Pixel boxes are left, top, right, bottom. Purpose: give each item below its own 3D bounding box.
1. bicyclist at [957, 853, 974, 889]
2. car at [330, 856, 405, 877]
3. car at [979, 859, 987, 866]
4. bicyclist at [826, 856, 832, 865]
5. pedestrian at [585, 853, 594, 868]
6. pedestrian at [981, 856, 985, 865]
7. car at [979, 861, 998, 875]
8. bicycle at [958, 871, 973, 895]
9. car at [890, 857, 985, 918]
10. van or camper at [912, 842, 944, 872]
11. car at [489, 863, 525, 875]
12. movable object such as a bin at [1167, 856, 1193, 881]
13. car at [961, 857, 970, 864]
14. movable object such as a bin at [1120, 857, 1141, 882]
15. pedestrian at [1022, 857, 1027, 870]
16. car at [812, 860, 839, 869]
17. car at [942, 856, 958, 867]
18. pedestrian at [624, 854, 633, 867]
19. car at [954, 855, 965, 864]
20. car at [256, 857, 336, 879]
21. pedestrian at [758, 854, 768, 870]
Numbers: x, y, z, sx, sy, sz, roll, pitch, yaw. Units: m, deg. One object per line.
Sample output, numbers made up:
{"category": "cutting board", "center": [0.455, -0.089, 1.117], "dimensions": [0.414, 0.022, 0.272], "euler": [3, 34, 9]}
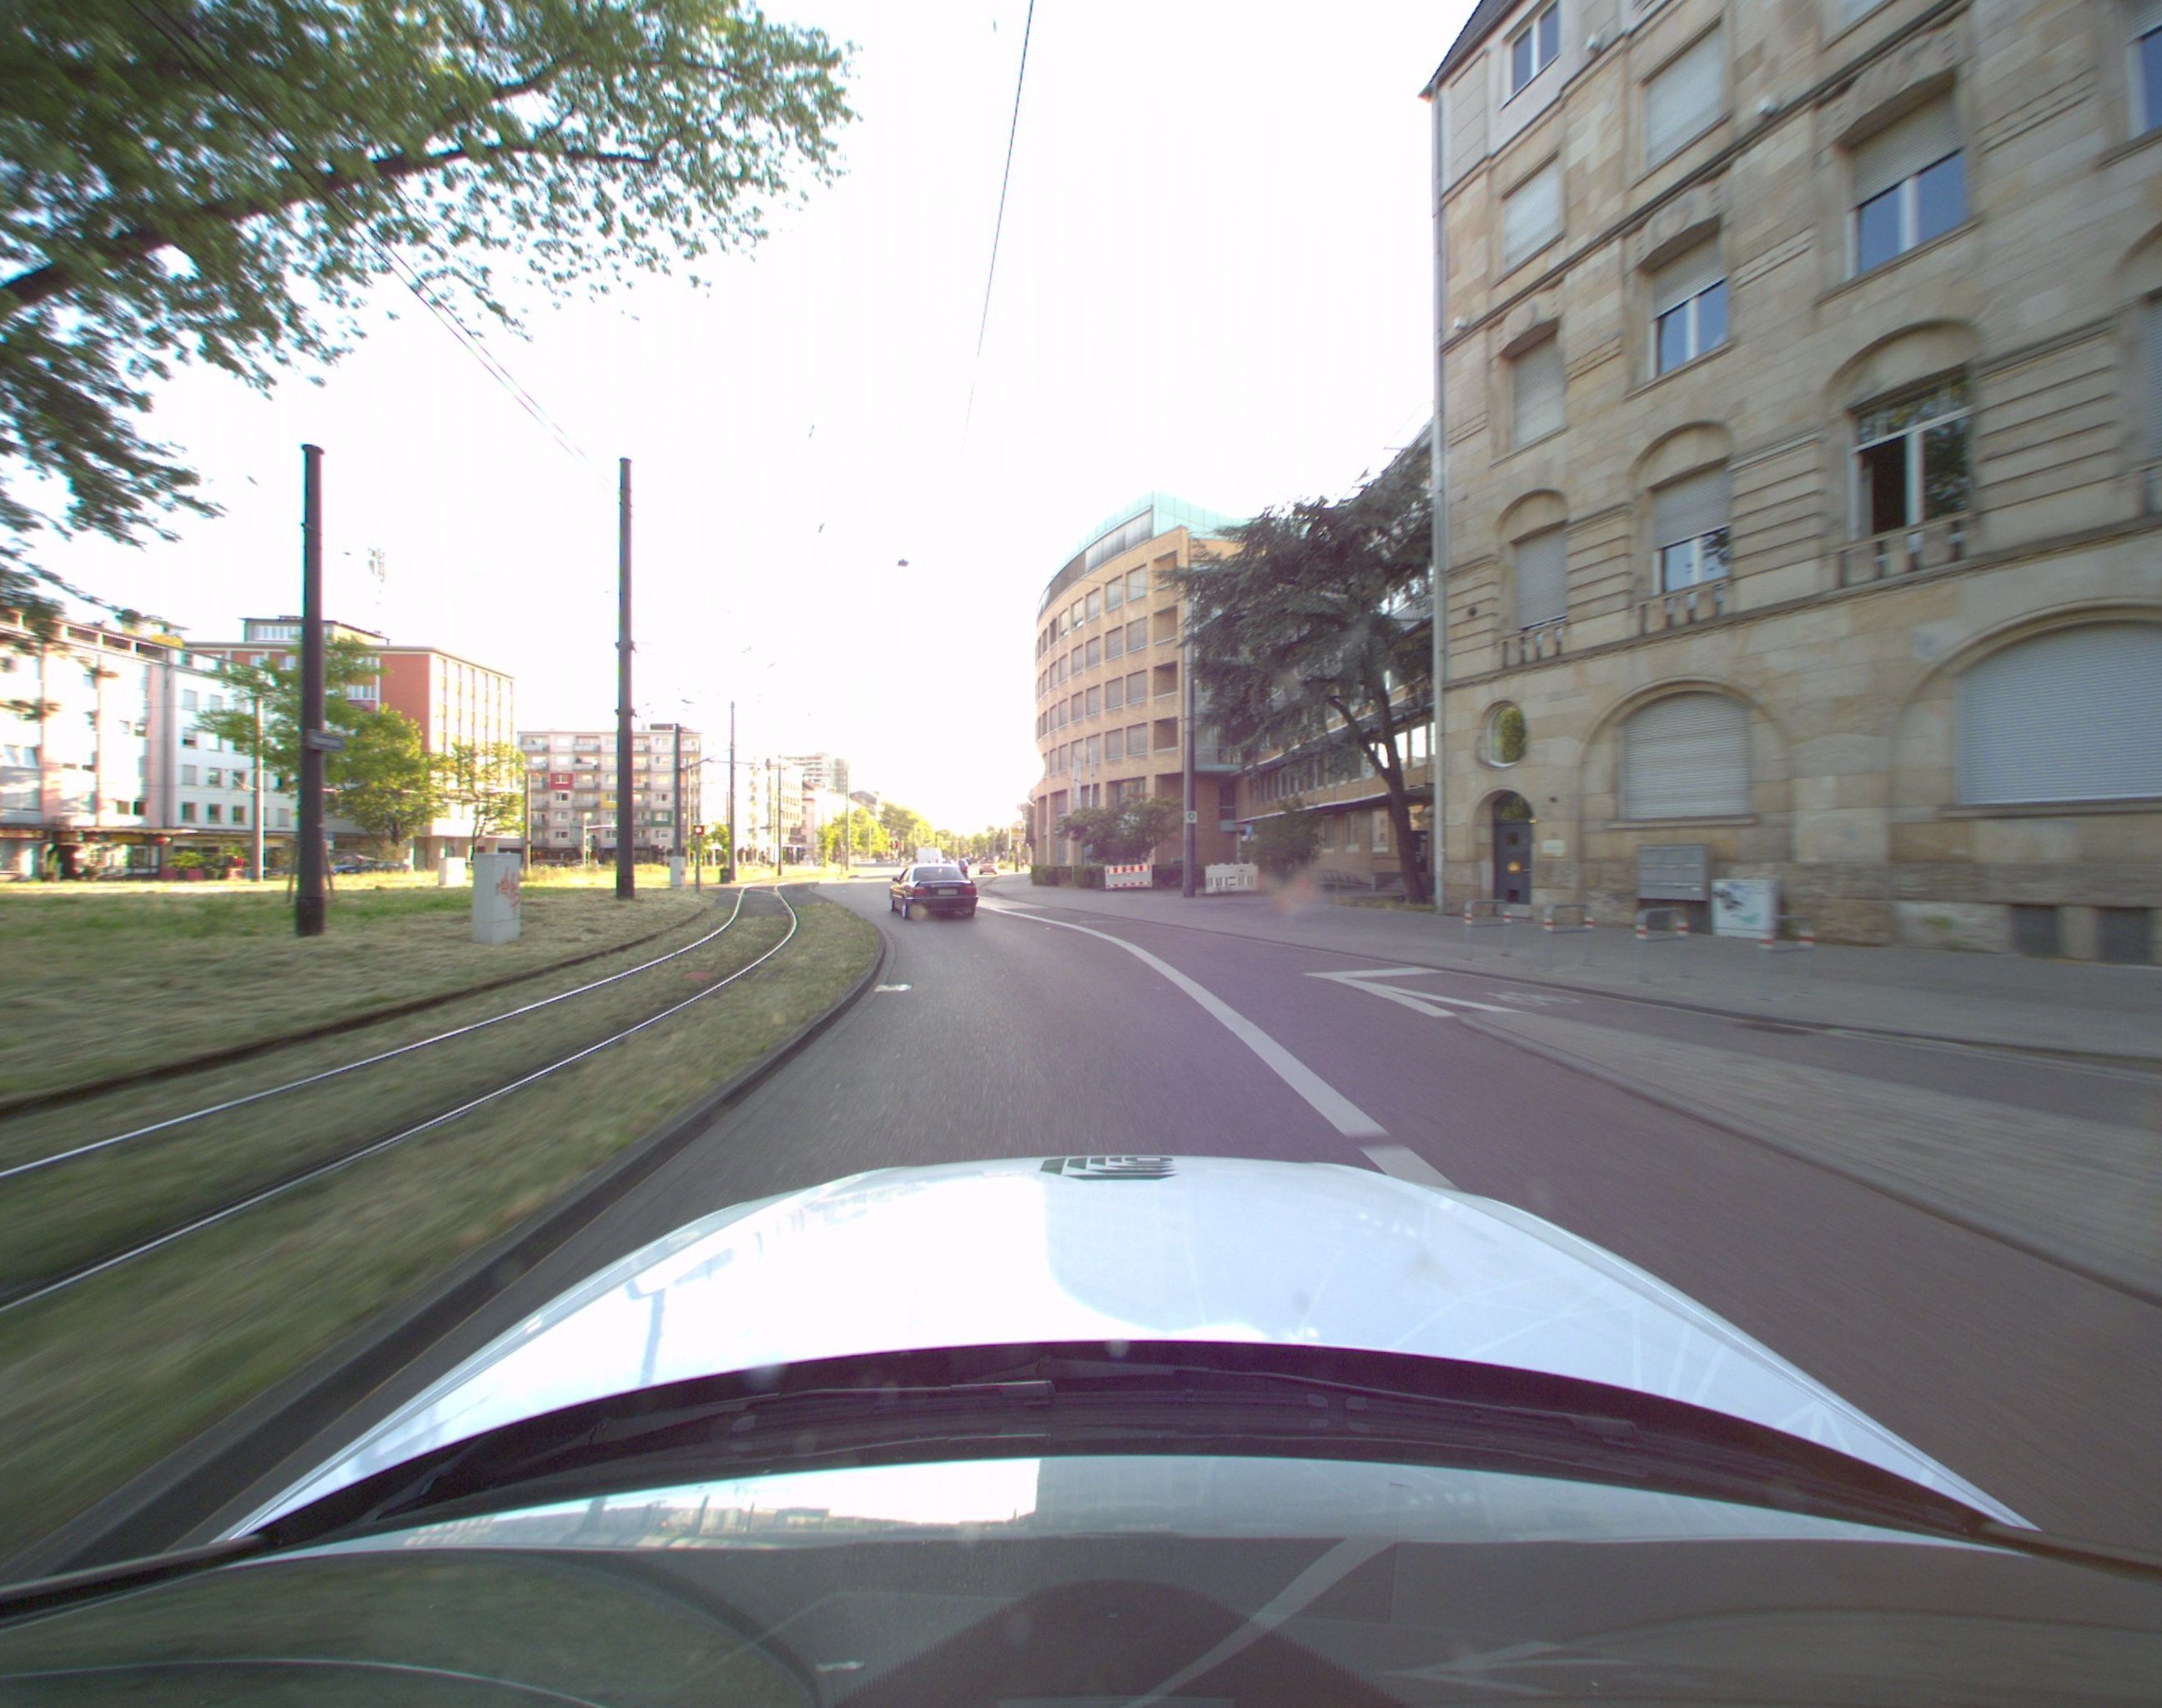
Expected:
{"category": "bicyclist", "center": [-4.906, 0.709, 34.512], "dimensions": [0.655, 1.483, 1.034], "euler": [2, -1, -10]}
{"category": "car", "center": [-58.265, 0.982, 66.616], "dimensions": [1.740, 1.526, 4.313], "euler": [0, 1, 19]}
{"category": "car", "center": [-23.238, 2.070, 192.183], "dimensions": [1.793, 1.566, 3.990], "euler": [0, 1, -8]}
{"category": "bicyclist", "center": [-41.792, 1.150, 135.253], "dimensions": [0.858, 1.442, 0.657], "euler": [2, 0, -26]}
{"category": "pedestrian", "center": [-60.661, 0.761, 100.566], "dimensions": [0.703, 1.852, 0.736], "euler": [0, 1, -4]}
{"category": "pedestrian", "center": [-16.599, 1.074, 137.523], "dimensions": [0.614, 1.475, 0.800], "euler": [0, 1, 0]}
{"category": "car", "center": [-9.656, 1.422, 85.552], "dimensions": [1.780, 1.354, 4.260], "euler": [1, 0, -5]}
{"category": "bicycle", "center": [-4.901, 1.221, 34.457], "dimensions": [0.515, 0.954, 1.769], "euler": [2, 0, -10]}
{"category": "car", "center": [-4.073, 0.836, 22.495], "dimensions": [1.836, 1.354, 4.611], "euler": [0, 2, -20]}
{"category": "van or camper", "center": [-14.120, 0.229, 75.333], "dimensions": [2.258, 2.625, 4.498], "euler": [0, 1, -3]}
{"category": "car", "center": [-82.639, 2.126, 117.308], "dimensions": [3.864, 1.585, 1.798], "euler": [-1, 1, -10]}
{"category": "movable object such as a bin", "center": [5.928, 0.877, 48.904], "dimensions": [1.341, 1.424, 0.920], "euler": [-1, 1, -12]}
{"category": "car", "center": [-25.352, 1.430, 179.010], "dimensions": [1.793, 1.566, 3.990], "euler": [0, 1, -8]}
{"category": "movable object such as a bin", "center": [2.970, 0.923, 48.966], "dimensions": [0.964, 1.437, 1.350], "euler": [0, 1, 15]}
{"category": "pedestrian", "center": [-6.978, 1.212, 100.668], "dimensions": [0.676, 1.569, 0.798], "euler": [0, 1, -6]}
{"category": "car", "center": [-42.849, 1.763, 136.577], "dimensions": [4.009, 1.434, 1.703], "euler": [1, 1, -28]}
{"category": "car", "center": [-17.675, 0.959, 109.743], "dimensions": [1.733, 1.385, 3.996], "euler": [0, 1, -3]}
{"category": "pedestrian", "center": [-56.196, 0.817, 101.150], "dimensions": [0.737, 1.669, 0.782], "euler": [0, 1, -3]}
{"category": "car", "center": [-20.579, 0.924, 137.927], "dimensions": [1.793, 1.566, 3.990], "euler": [0, 1, -8]}
{"category": "car", "center": [-60.125, 1.073, 62.466], "dimensions": [1.740, 1.526, 4.019], "euler": [0, 1, 19]}
{"category": "pedestrian", "center": [-33.610, 0.849, 86.114], "dimensions": [0.714, 1.762, 0.653], "euler": [0, 1, 17]}
